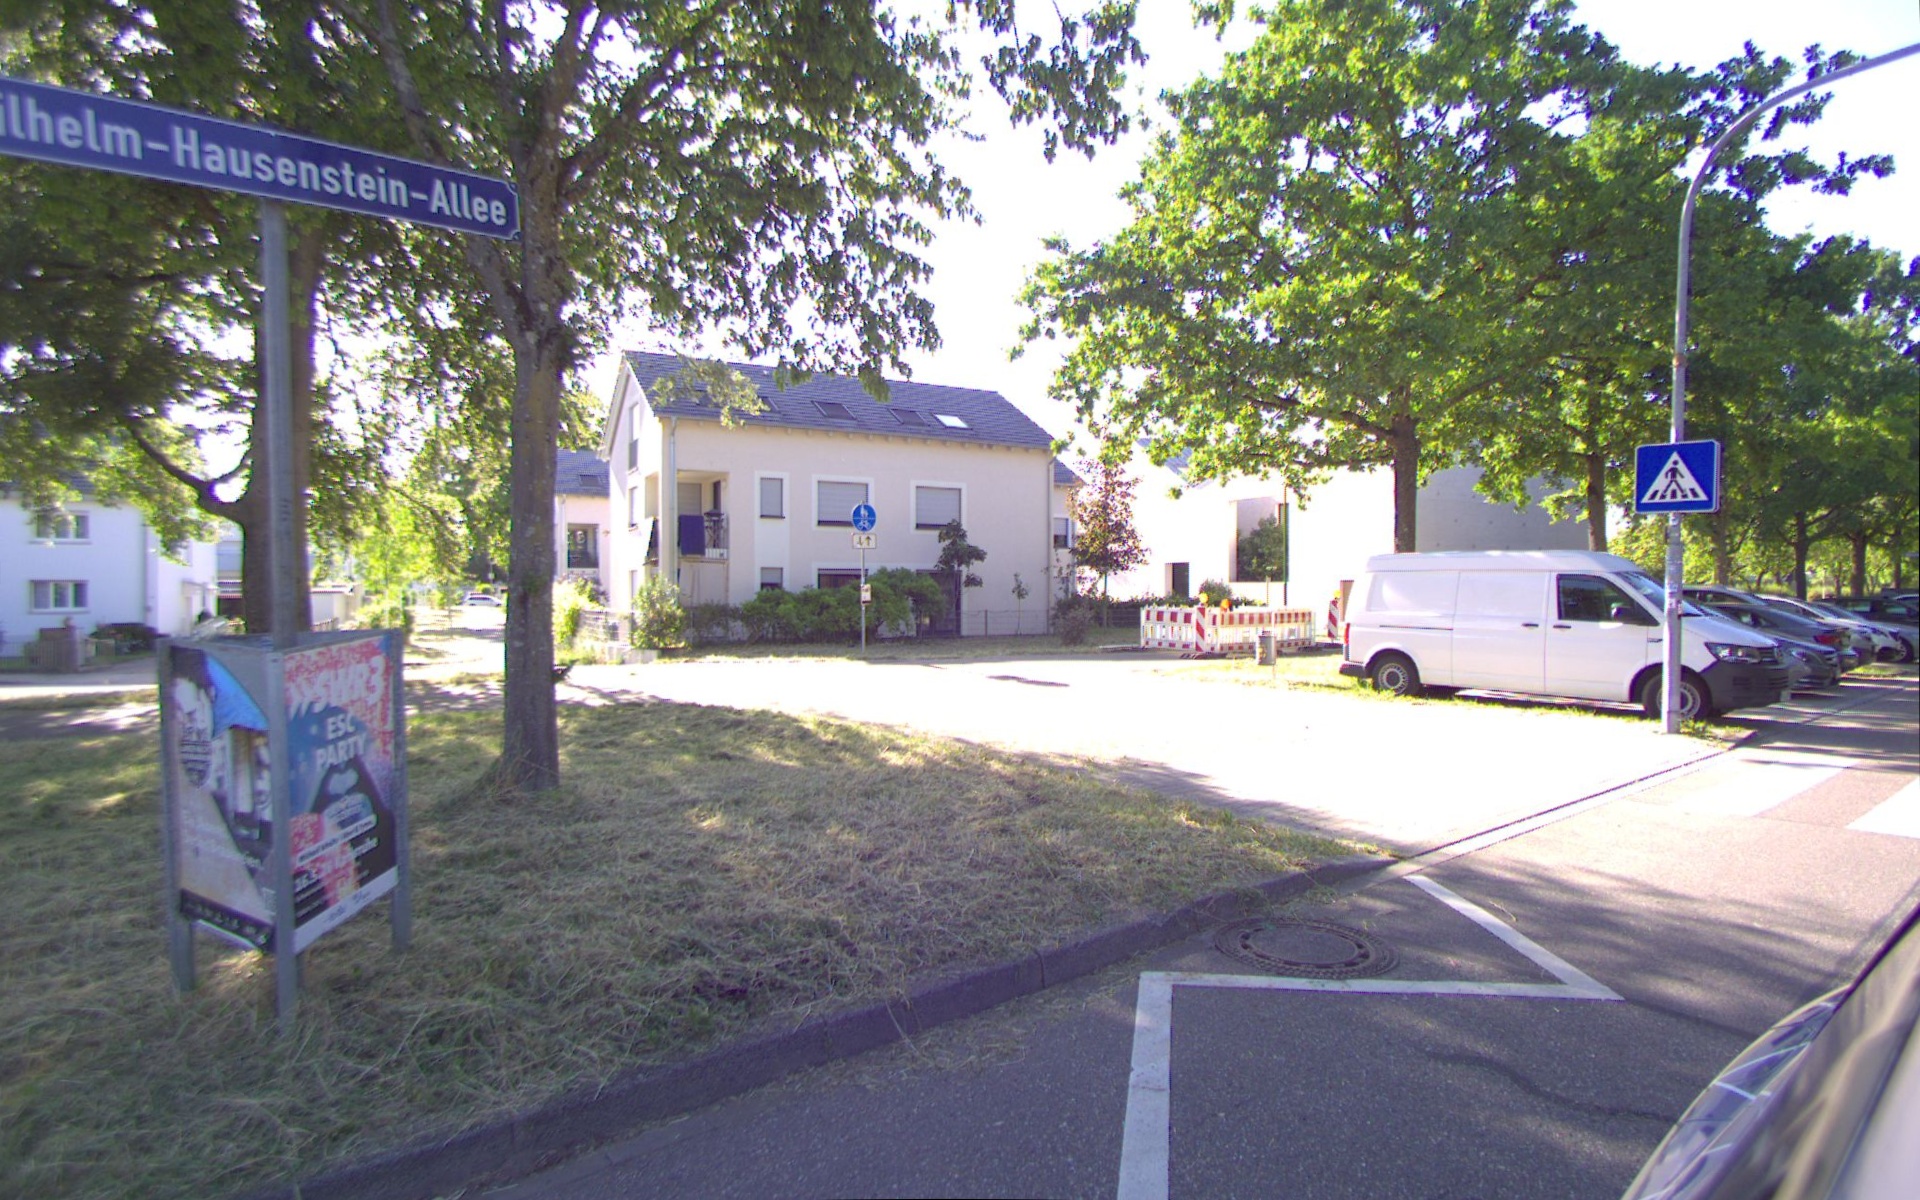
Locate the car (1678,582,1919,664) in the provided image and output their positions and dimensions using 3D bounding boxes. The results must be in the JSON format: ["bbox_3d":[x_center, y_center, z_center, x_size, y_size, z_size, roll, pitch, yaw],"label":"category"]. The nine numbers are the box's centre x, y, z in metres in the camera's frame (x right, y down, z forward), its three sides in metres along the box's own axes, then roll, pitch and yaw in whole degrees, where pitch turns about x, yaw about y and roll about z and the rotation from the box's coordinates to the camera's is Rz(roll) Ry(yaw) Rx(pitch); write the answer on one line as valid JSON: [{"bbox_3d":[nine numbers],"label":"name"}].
[{"bbox_3d":[19.001,0.484,23.086,1.504,1.700,4.020,0,0,-37],"label":"car"}]

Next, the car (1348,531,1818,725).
[{"bbox_3d":[8.023,0.257,13.558,1.857,2.107,5.044,0,1,-39],"label":"car"}]

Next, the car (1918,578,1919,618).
[{"bbox_3d":[43.765,-0.109,42.896,1.504,1.765,4.396,0,0,-37],"label":"car"}]

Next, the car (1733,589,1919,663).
[{"bbox_3d":[21.524,0.604,24.640,1.504,1.681,4.020,0,0,-37],"label":"car"}]

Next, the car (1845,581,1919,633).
[{"bbox_3d":[32.948,0.228,34.165,1.504,1.765,4.396,0,0,-37],"label":"car"}]

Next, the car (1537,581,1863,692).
[{"bbox_3d":[11.975,0.525,16.612,1.725,1.583,3.997,0,0,-37],"label":"car"}]

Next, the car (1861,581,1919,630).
[{"bbox_3d":[35.999,0.193,36.949,1.504,1.765,4.396,0,0,-37],"label":"car"}]

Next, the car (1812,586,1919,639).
[{"bbox_3d":[30.428,0.390,32.550,1.504,1.662,4.396,0,0,-37],"label":"car"}]

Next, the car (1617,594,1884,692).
[{"bbox_3d":[14.007,0.700,18.093,1.421,1.561,3.517,0,0,-37],"label":"car"}]

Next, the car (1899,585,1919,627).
[{"bbox_3d":[41.437,0.233,41.267,1.504,1.765,4.396,0,0,-37],"label":"car"}]

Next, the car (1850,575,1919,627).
[{"bbox_3d":[37.909,0.031,39.633,1.504,2.013,4.396,0,0,-37],"label":"car"}]

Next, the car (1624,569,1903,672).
[{"bbox_3d":[15.712,0.373,19.976,1.681,1.816,4.020,0,0,-37],"label":"car"}]
